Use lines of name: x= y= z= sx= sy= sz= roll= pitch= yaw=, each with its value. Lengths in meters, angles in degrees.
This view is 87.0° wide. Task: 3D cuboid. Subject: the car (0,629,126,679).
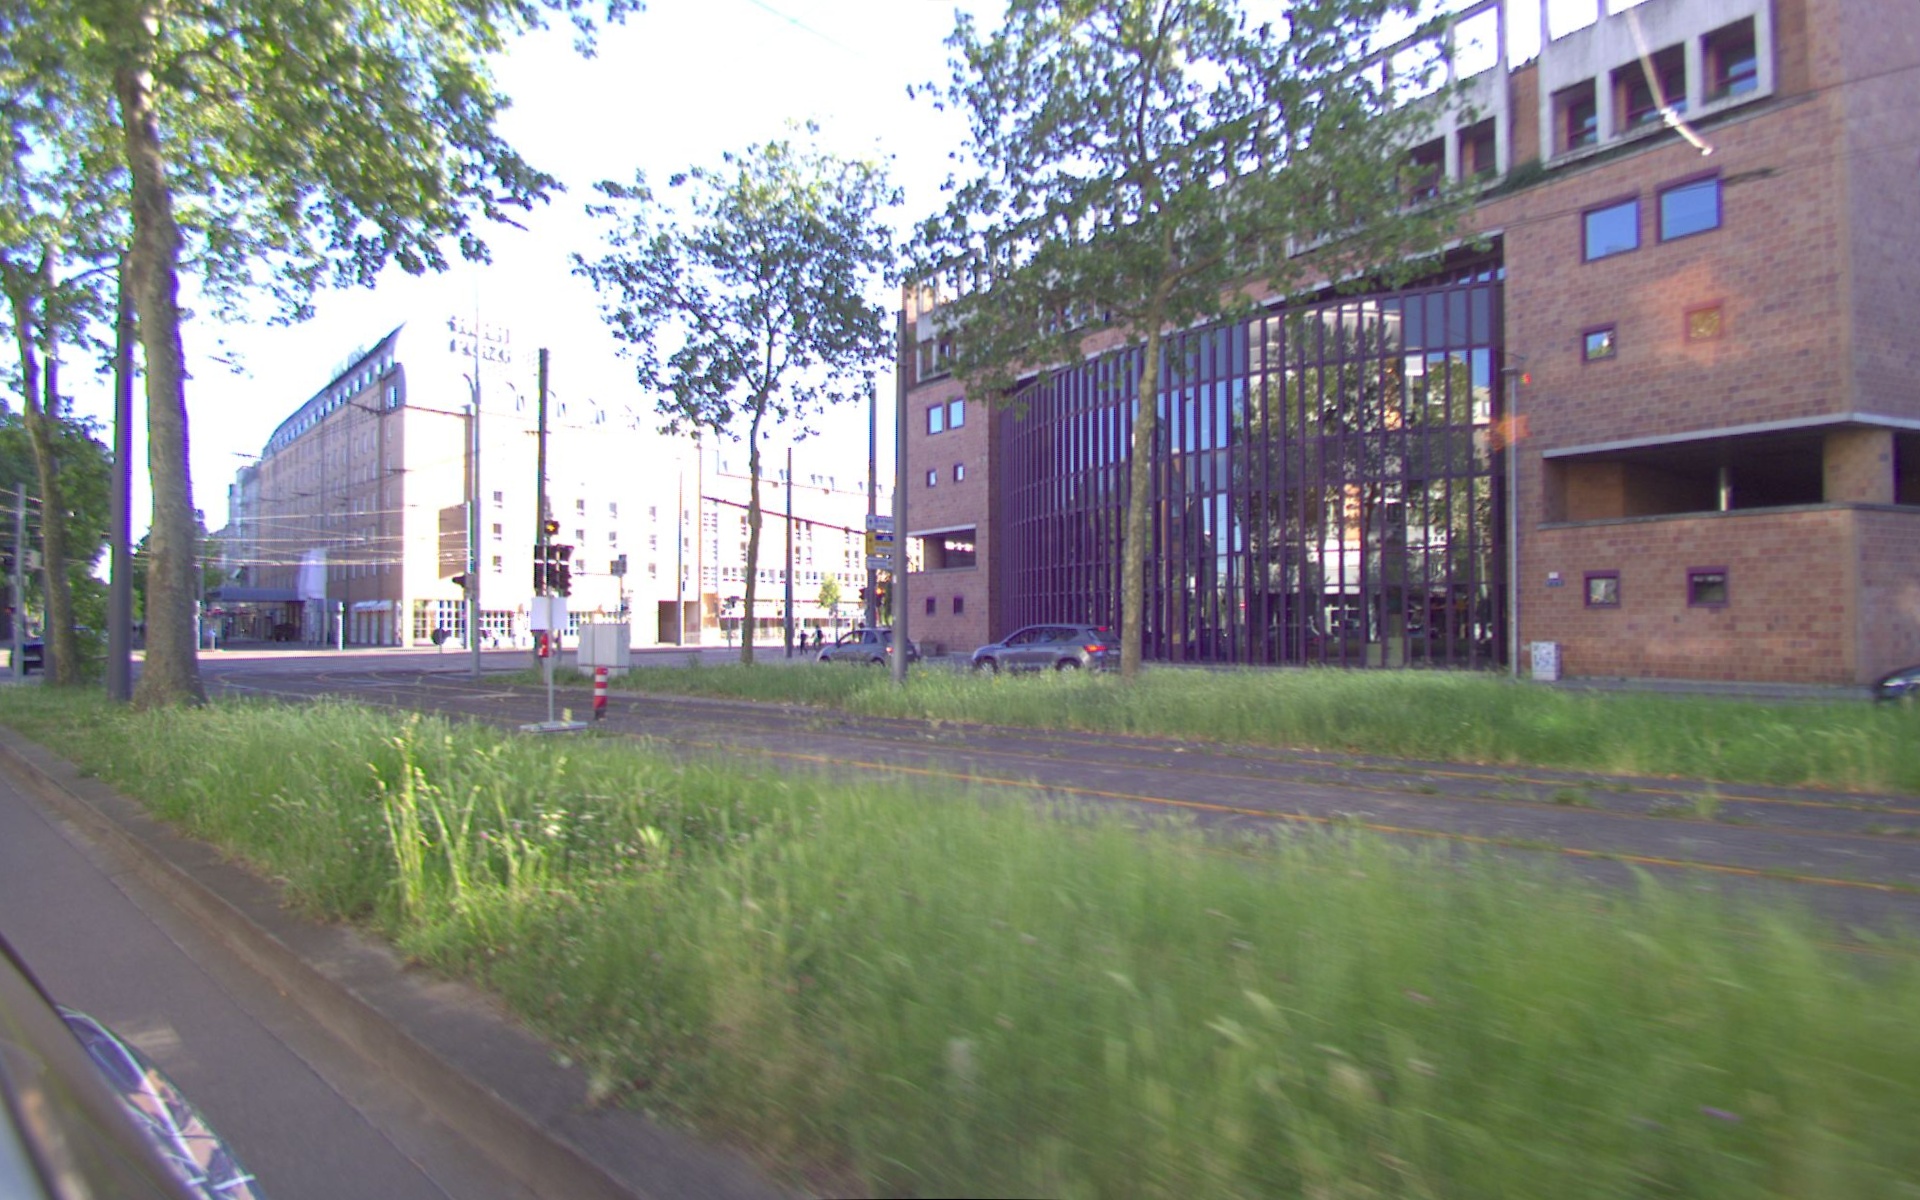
car: x=-32.384 y=1.894 z=36.402 sx=1.966 sy=1.648 sz=4.464 roll=0 pitch=-1 yaw=-15

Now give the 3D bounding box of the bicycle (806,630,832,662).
bicycle: x=-8.205 y=2.668 z=58.760 sx=0.796 sy=1.799 sz=2.342 roll=0 pitch=-2 yaw=-26

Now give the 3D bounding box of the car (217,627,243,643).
car: x=-78.026 y=3.707 z=108.162 sx=1.679 sy=1.663 sz=4.002 roll=1 pitch=-2 yaw=-45

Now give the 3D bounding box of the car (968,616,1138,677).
car: x=2.317 y=1.152 z=25.833 sx=4.148 sy=1.440 sz=1.653 roll=-2 pitch=-2 yaw=41

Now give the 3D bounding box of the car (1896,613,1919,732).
car: x=13.605 y=0.844 z=11.581 sx=4.148 sy=1.440 sz=1.596 roll=-2 pitch=-2 yaw=41

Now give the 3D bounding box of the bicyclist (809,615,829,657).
bicyclist: x=-8.181 y=2.084 z=58.683 sx=0.796 sy=2.419 sz=1.072 roll=0 pitch=-2 yaw=-26

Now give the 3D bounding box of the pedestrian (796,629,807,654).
pedestrian: x=-9.768 y=2.554 z=62.406 sx=0.558 sy=1.516 sz=0.513 roll=0 pitch=-3 yaw=-26

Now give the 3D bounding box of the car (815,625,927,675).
car: x=-2.733 y=1.494 z=30.724 sx=3.220 sy=1.440 sz=1.596 roll=-2 pitch=-2 yaw=41
